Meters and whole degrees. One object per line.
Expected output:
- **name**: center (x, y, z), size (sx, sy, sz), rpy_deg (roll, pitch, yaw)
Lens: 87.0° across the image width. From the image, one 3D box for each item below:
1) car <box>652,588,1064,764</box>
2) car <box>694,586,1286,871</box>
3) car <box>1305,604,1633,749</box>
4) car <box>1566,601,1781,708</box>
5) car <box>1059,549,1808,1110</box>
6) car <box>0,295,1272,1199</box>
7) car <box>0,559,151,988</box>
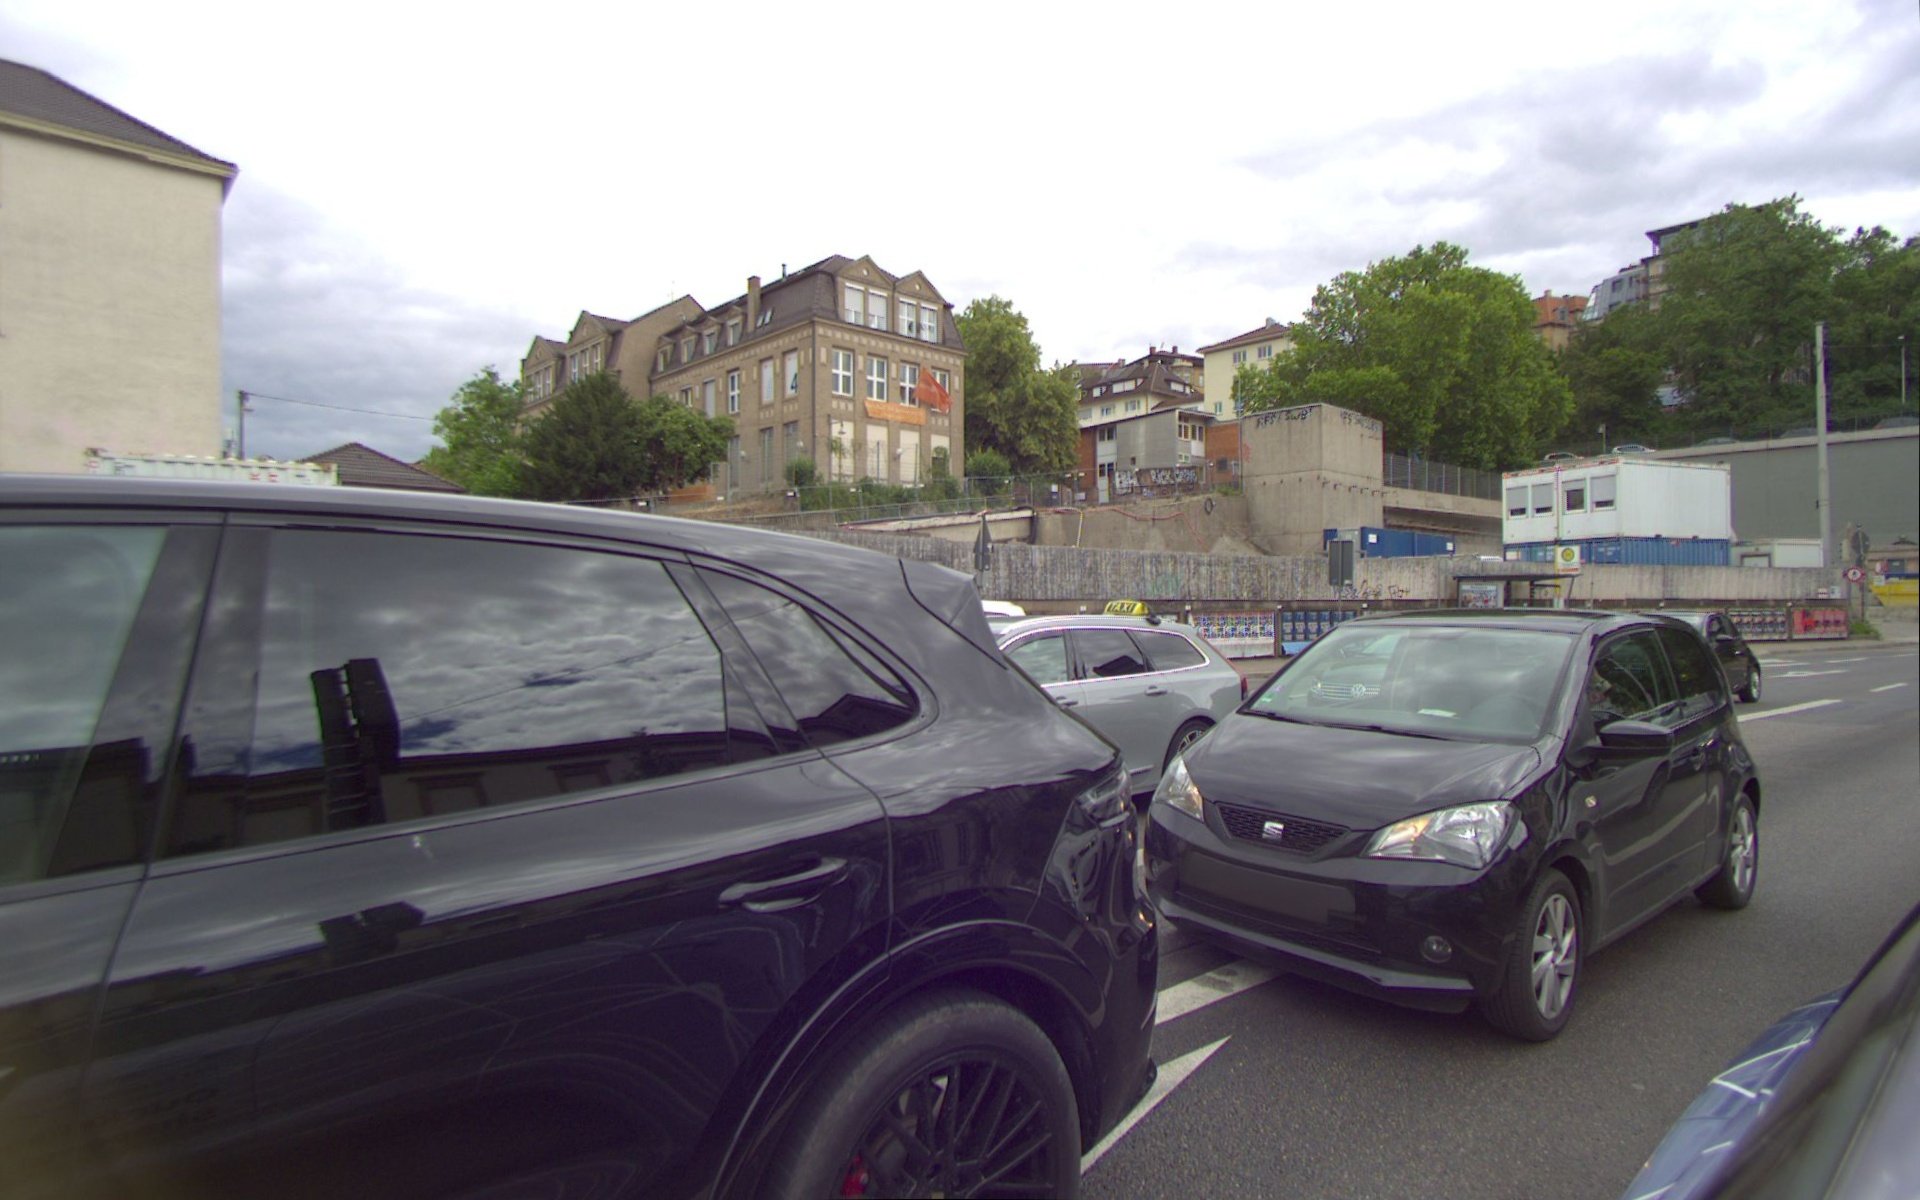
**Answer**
- **car**: center (-0.940, 0.624, 10.598), size (4.004, 1.484, 1.824), rpy_deg (-1, 1, -42)
- **car**: center (0.399, 0.648, 7.334), size (4.142, 1.484, 1.825), rpy_deg (-1, 0, -40)
- **car**: center (6.023, 0.758, 11.800), size (4.139, 1.381, 1.827), rpy_deg (1, 0, -38)
- **car**: center (11.241, 0.780, 15.878), size (3.711, 1.478, 1.721), rpy_deg (1, -2, -38)
- **car**: center (2.411, 0.622, 4.713), size (3.841, 1.575, 1.661), rpy_deg (-1, 0, -39)
- **car**: center (-1.658, 0.547, 1.661), size (4.497, 1.689, 1.998), rpy_deg (-1, 0, -39)
- **car**: center (-5.062, 0.629, 3.452), size (3.581, 1.529, 1.826), rpy_deg (-1, 0, -39)
